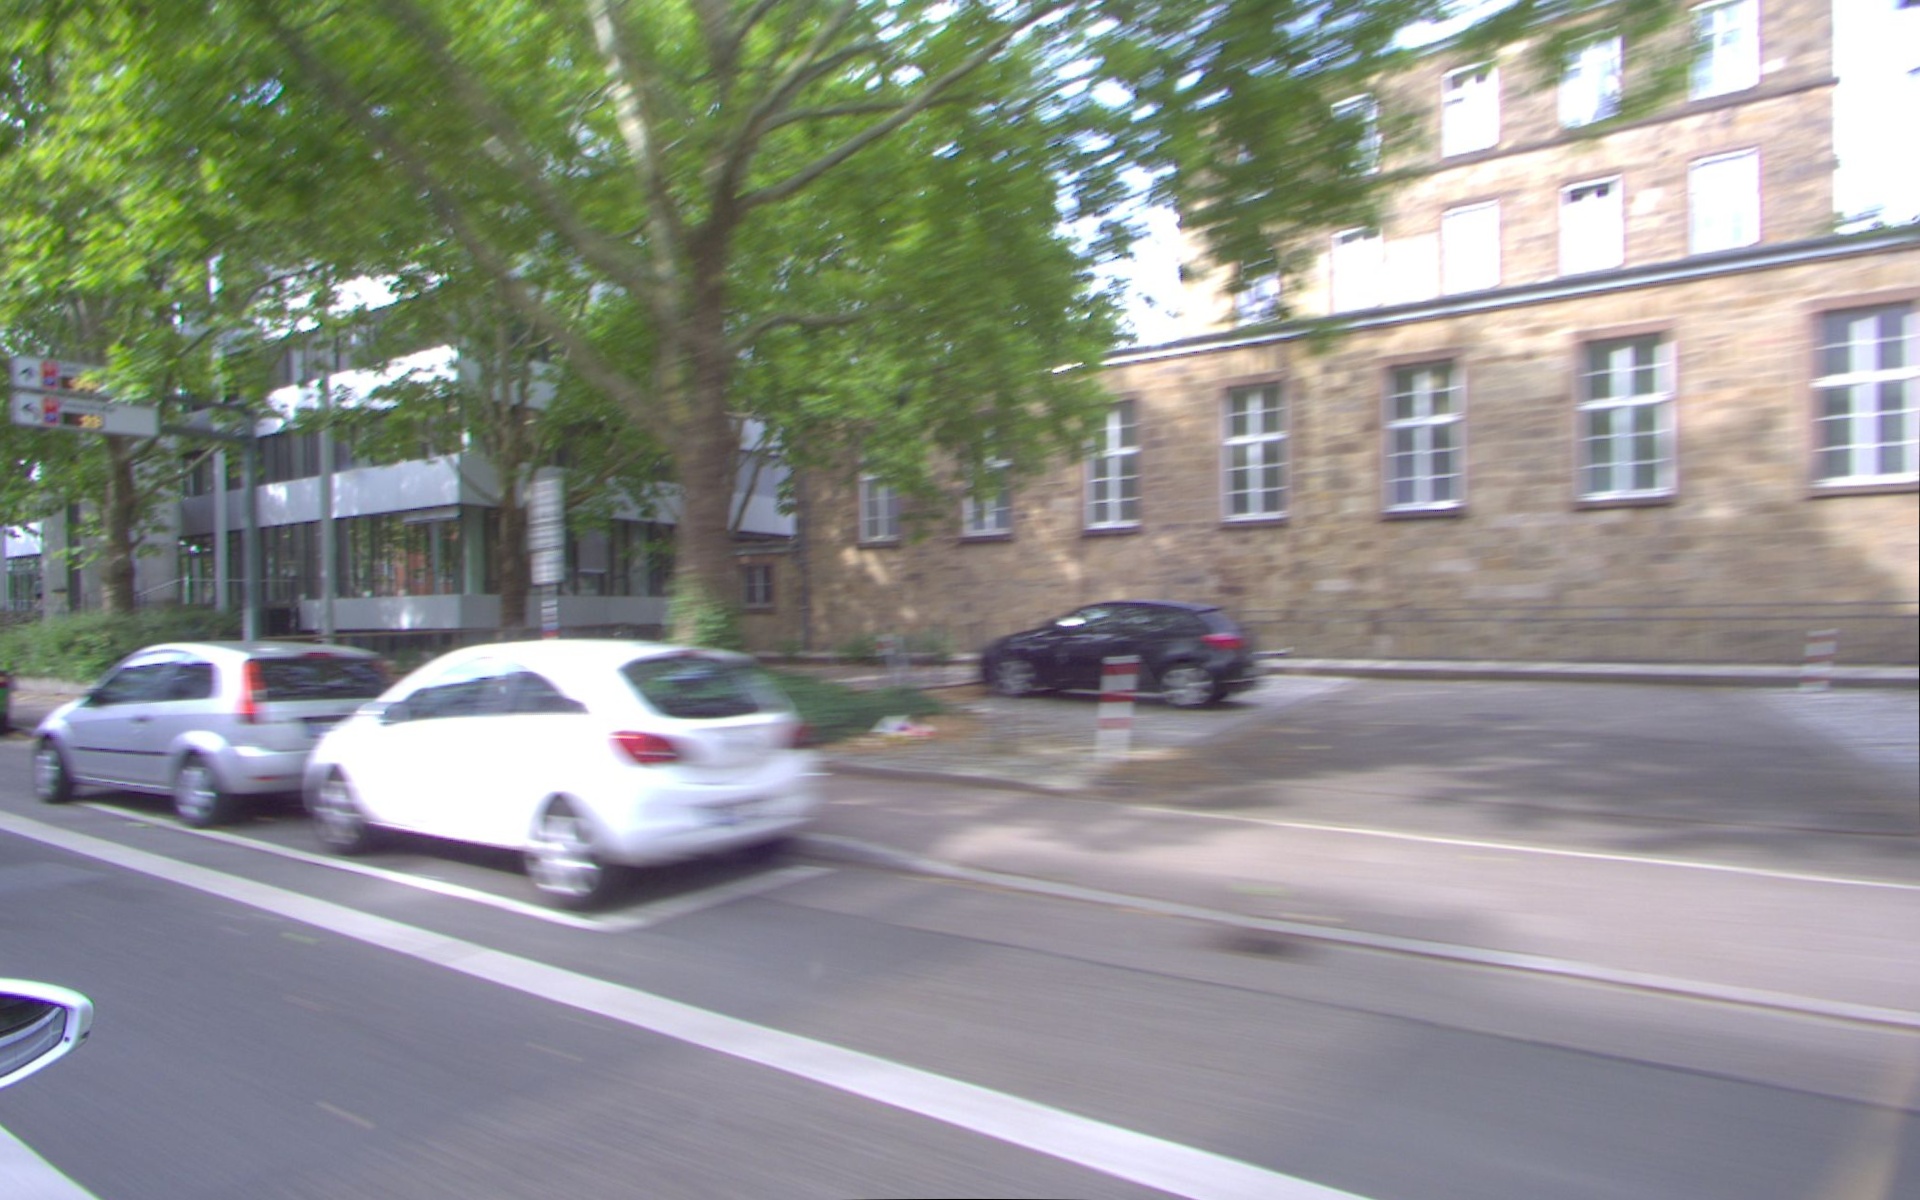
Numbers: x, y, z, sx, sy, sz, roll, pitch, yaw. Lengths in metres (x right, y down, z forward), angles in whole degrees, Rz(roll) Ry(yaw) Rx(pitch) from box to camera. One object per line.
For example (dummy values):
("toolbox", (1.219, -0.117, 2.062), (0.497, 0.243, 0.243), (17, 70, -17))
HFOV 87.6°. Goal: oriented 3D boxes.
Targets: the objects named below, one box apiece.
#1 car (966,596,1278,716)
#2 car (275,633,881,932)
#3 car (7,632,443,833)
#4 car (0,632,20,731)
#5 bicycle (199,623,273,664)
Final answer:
("car", (2.338, 0.744, 14.838), (4.233, 1.469, 1.667), (2, 0, 30))
("car", (-2.733, 0.987, 6.875), (4.158, 1.465, 1.752), (-1, -3, 33))
("car", (-6.679, 1.052, 9.060), (3.822, 1.465, 1.643), (0, -3, 28))
("car", (-16.282, 1.208, 15.402), (3.748, 1.467, 1.586), (-1, -3, 30))
("bicycle", (-21.443, 1.262, 29.681), (0.595, 1.132, 1.673), (0, 0, 25))
